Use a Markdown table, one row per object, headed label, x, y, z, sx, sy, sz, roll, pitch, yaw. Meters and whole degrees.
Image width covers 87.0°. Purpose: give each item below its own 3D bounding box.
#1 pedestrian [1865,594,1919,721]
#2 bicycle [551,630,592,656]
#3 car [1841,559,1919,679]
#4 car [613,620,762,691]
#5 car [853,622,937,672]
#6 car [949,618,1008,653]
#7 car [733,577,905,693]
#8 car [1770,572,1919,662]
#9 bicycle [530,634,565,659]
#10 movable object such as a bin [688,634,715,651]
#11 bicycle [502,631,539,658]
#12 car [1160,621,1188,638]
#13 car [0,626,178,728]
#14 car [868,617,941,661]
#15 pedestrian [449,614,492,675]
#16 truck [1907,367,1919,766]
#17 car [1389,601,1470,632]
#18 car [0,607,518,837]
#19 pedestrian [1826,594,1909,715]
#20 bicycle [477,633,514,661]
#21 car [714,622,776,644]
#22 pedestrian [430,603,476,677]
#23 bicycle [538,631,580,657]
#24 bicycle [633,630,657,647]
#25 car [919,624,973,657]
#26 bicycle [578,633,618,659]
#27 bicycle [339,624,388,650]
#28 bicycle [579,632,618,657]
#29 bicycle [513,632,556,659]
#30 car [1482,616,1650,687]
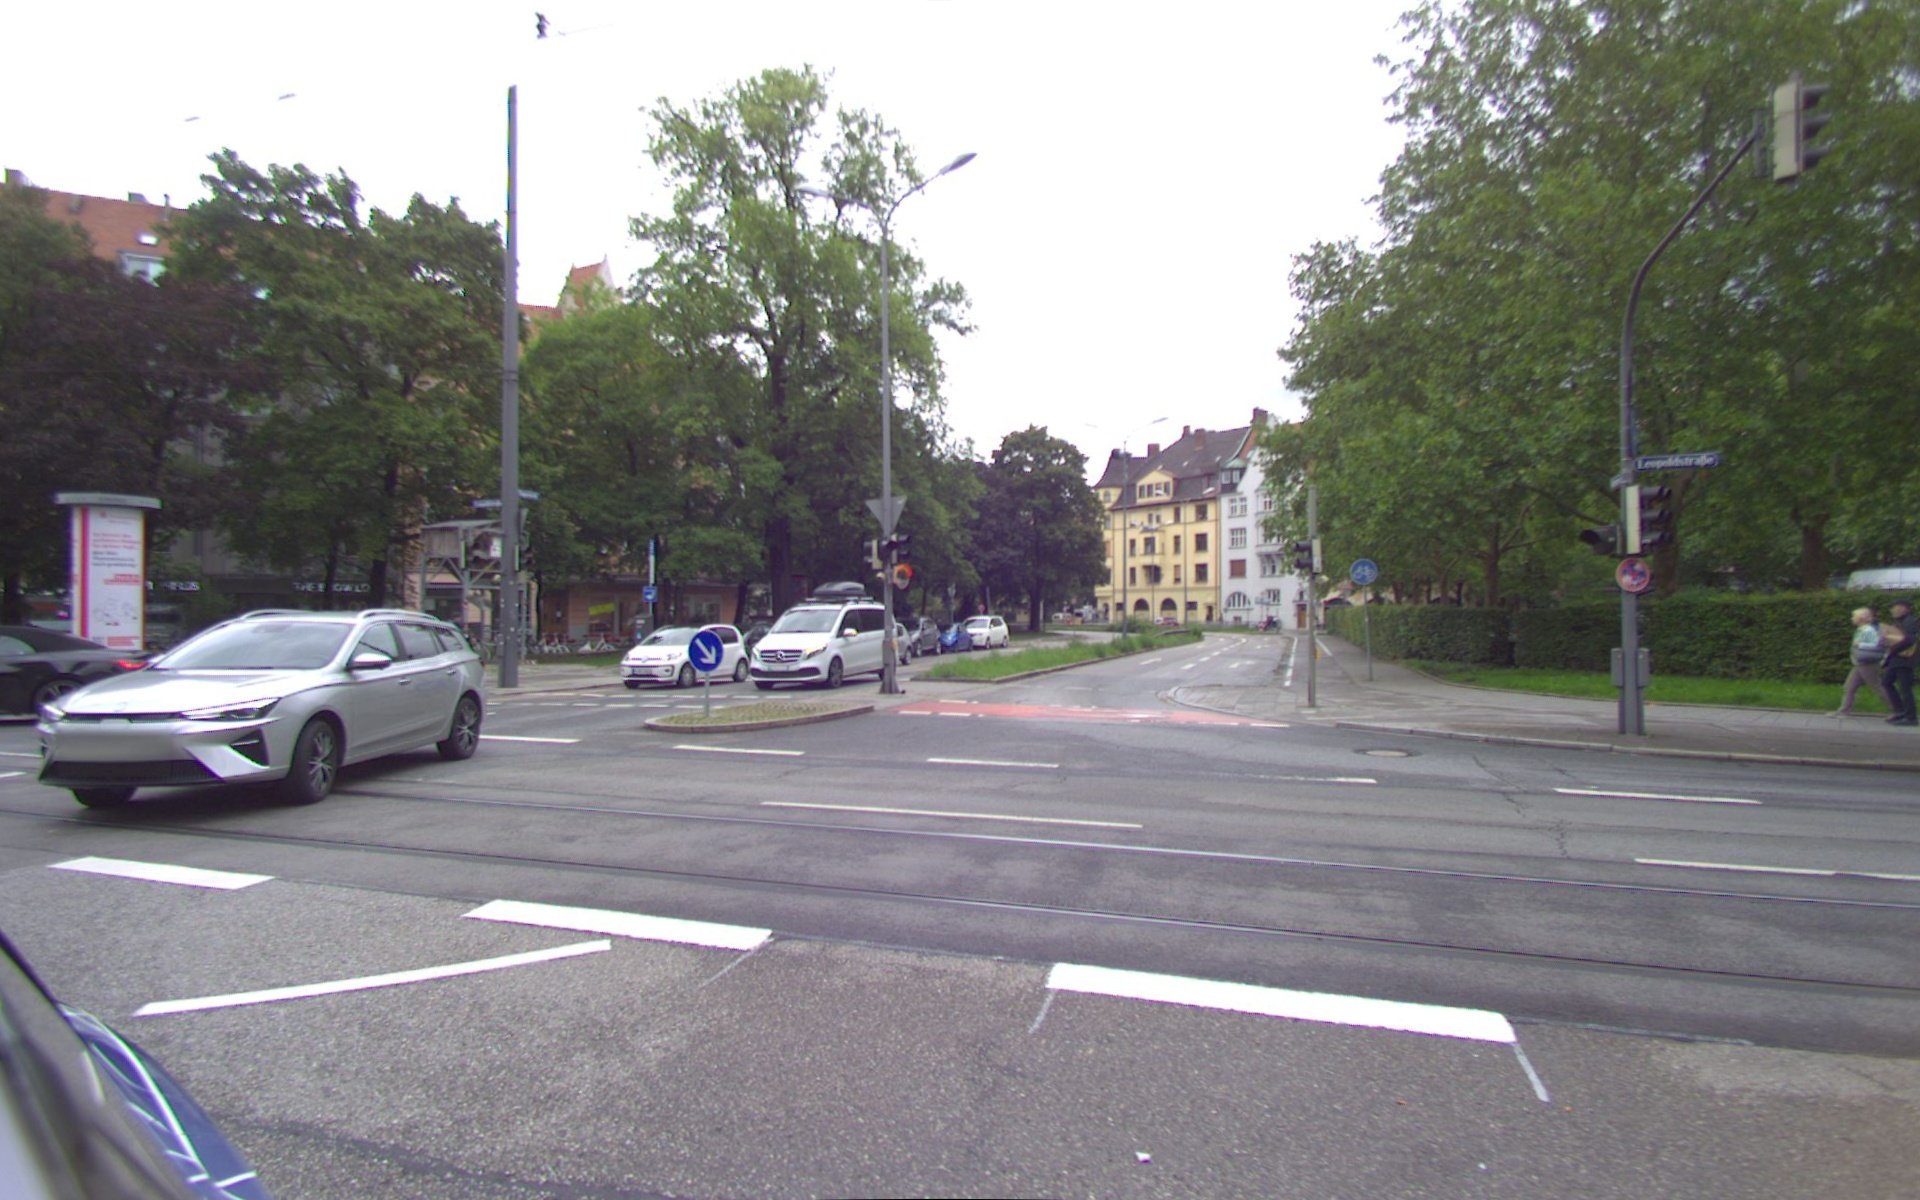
| label | x | y | z | sx | sy | sz | roll | pitch | yaw |
| --- | --- | --- | --- | --- | --- | --- | --- | --- | --- |
| pedestrian | 12.856 | 0.764 | 13.652 | 0.654 | 1.676 | 0.684 | 0 | -1 | 7 |
| bicycle | -14.356 | 1.602 | 37.444 | 1.388 | 0.900 | 0.314 | -2 | -1 | -18 |
| car | 19.414 | 0.479 | 19.684 | 4.549 | 2.029 | 2.006 | 6 | -5 | -29 |
| car | -6.442 | 1.267 | 24.427 | 1.758 | 1.536 | 4.192 | -2 | -1 | 12 |
| car | -2.144 | 1.561 | 34.557 | 1.758 | 1.536 | 4.191 | -2 | -1 | 13 |
| car | 1.073 | 1.909 | 55.426 | 1.835 | 1.870 | 4.992 | -1 | -1 | 19 |
| car | -3.089 | 0.766 | 23.349 | 1.899 | 2.369 | 4.913 | 0 | -1 | 19 |
| car | 28.189 | 0.466 | 30.182 | 5.825 | 2.554 | 1.985 | -2 | -1 | 23 |
| bicycle | -16.104 | 1.814 | 39.546 | 0.311 | 0.900 | 1.401 | -2 | -1 | 24 |
| movable object such as a bin | -13.802 | 2.285 | 54.057 | 1.175 | 0.879 | 0.766 | -1 | -1 | 28 |
| bicycle | -15.137 | 1.541 | 34.850 | 1.405 | 0.900 | 0.310 | -3 | -1 | 27 |
| car | 20.986 | 2.915 | 99.064 | 2.093 | 1.650 | 4.909 | 0 | -2 | 18 |
| car | -14.207 | 1.073 | 14.361 | 4.716 | 1.400 | 1.734 | 1 | -2 | -31 |
| car | -2.394 | 1.698 | 44.702 | 1.920 | 1.833 | 4.532 | 0 | -1 | 15 |
| pedestrian | -11.729 | 1.064 | 24.258 | 0.715 | 1.415 | 0.542 | 1 | 0 | 19 |
| truck | 14.772 | -0.406 | 7.110 | 11.620 | 4.011 | 2.731 | 0 | -2 | 19 |
| car | 40.257 | 1.434 | 86.946 | 6.019 | 2.609 | 2.101 | 0 | -2 | 13 |
| car | -5.838 | 0.880 | 8.985 | 1.753 | 1.536 | 4.203 | -1 | -1 | 4 |
| pedestrian | 12.934 | 0.768 | 14.439 | 0.548 | 1.676 | 0.684 | 0 | -1 | 7 |
| bicycle | -15.556 | 1.576 | 33.878 | 1.405 | 0.900 | 0.310 | -3 | -1 | 27 |
| car | -16.269 | 2.482 | 76.441 | 4.423 | 1.478 | 1.843 | -3 | -1 | 29 |
| pedestrian | -11.863 | 0.929 | 23.676 | 0.715 | 1.673 | 0.542 | 3 | 0 | 19 |
| bicycle | -14.553 | 1.595 | 36.727 | 1.390 | 0.900 | 0.313 | 0 | -1 | -6 |
| bicycle | -14.537 | 1.771 | 46.626 | 1.173 | 0.729 | 0.316 | -3 | -1 | 29 |
| car | -0.632 | 1.968 | 49.758 | 1.513 | 1.561 | 3.638 | -1 | -1 | 19 |
| bicycle | -13.757 | 1.747 | 38.490 | 1.388 | 0.900 | 0.314 | -2 | -1 | -18 |
| bicycle | -32.121 | 1.987 | 54.535 | 2.211 | 1.299 | 0.508 | -1 | -1 | -34 |
| bicycle | -13.922 | 1.696 | 38.980 | 1.388 | 0.900 | 0.314 | -2 | -1 | -18 |
| bicycle | -14.898 | 1.583 | 35.472 | 1.395 | 0.900 | 0.313 | -2 | -1 | 6 |
| car | 16.510 | 1.380 | 27.695 | 3.470 | 1.777 | 1.779 | -2 | -1 | -4 |
